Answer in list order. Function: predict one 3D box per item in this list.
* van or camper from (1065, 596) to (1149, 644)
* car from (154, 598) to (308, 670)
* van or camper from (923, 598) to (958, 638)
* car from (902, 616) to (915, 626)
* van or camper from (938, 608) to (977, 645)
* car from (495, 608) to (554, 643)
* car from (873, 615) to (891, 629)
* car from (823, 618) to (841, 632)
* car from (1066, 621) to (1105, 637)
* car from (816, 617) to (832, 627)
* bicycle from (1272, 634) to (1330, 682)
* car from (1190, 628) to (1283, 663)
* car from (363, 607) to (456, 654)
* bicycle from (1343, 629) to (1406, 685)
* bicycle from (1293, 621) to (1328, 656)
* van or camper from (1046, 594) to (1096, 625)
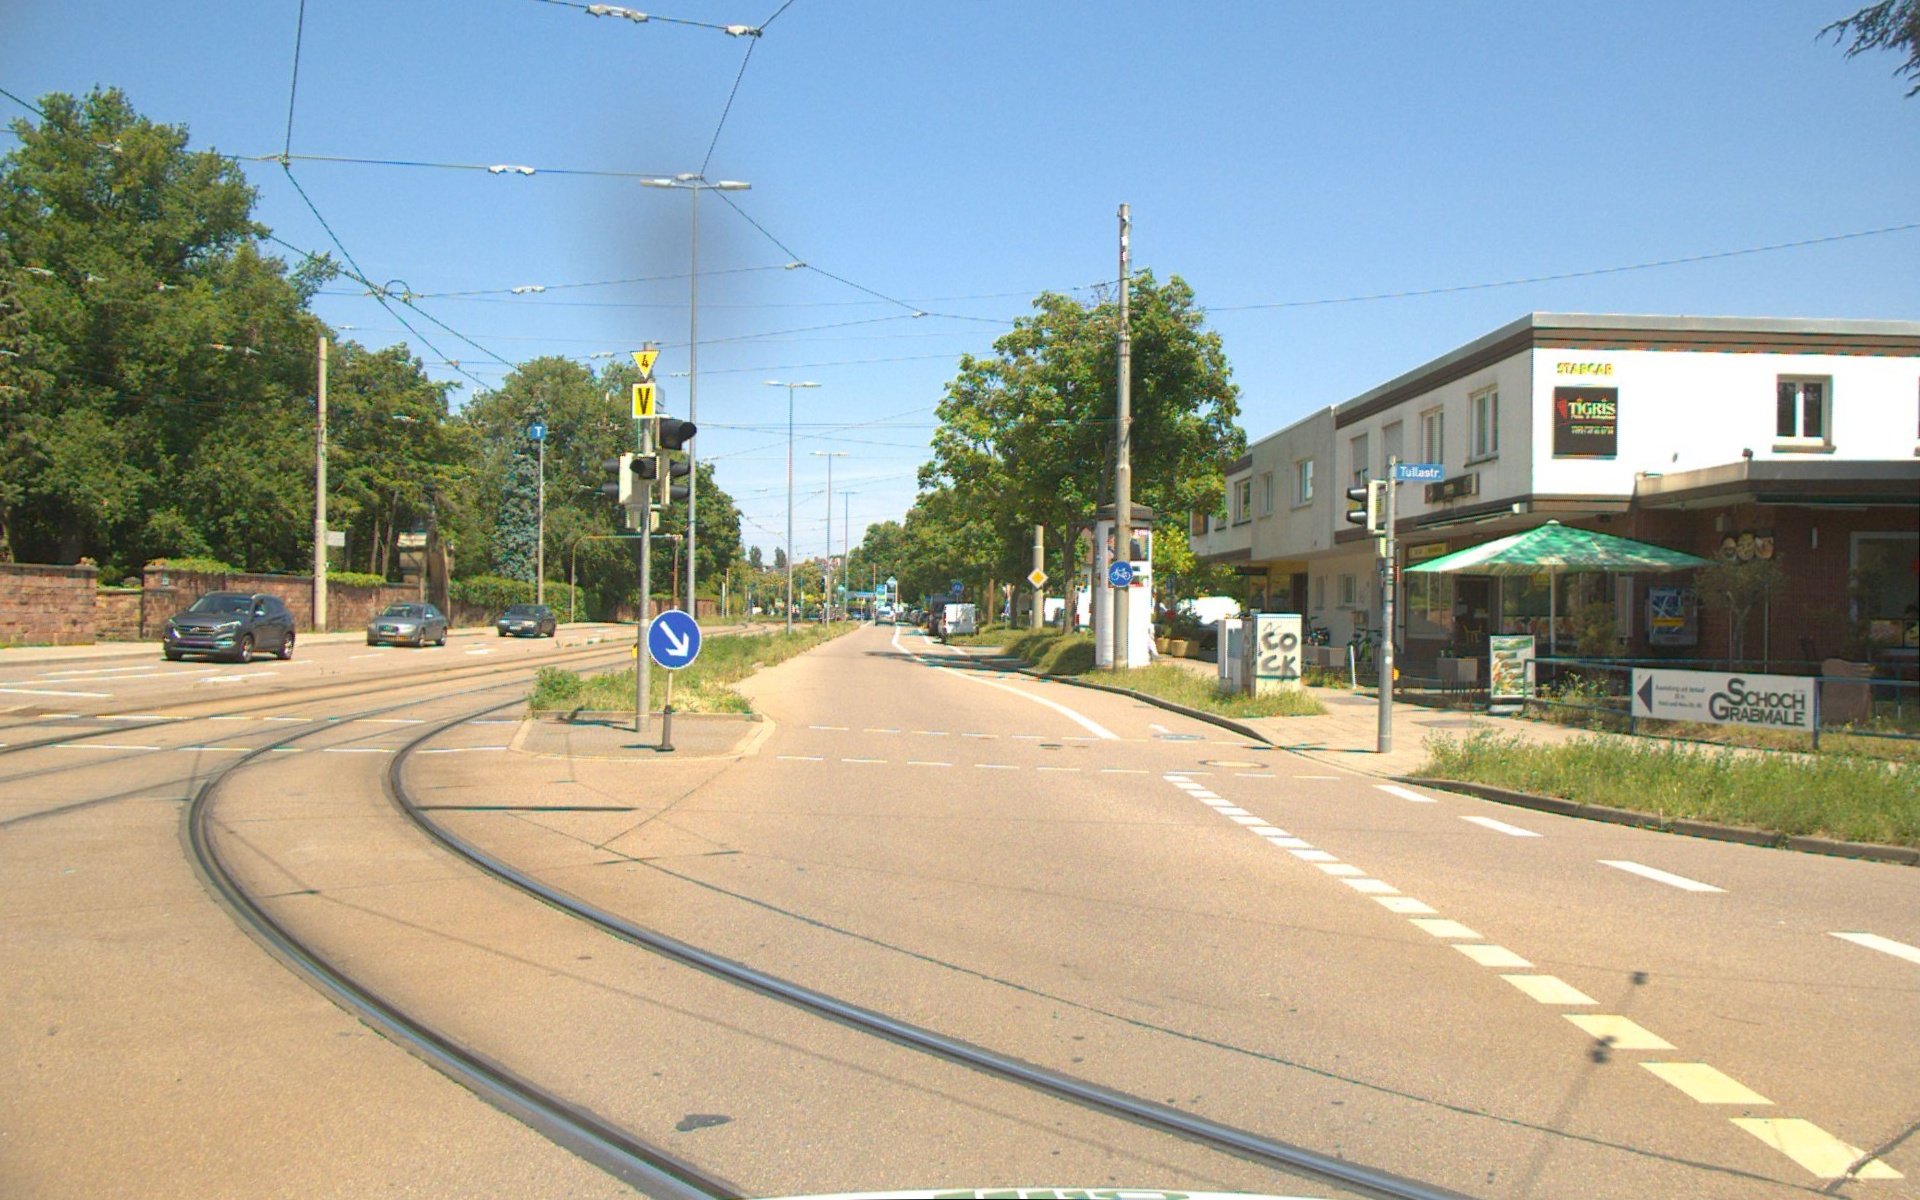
[{"bbox_3d":[8.658,1.155,97.601,4.662,2.718,2.134,1,-1,-4],"label":"van or camper"},{"bbox_3d":[-17.738,0.801,40.484,1.783,1.631,4.519,1,-1,-1],"label":"car"},{"bbox_3d":[-1.260,1.178,106.453,1.954,2.507,3.996,1,-1,-5],"label":"van or camper"},{"bbox_3d":[-6.847,2.810,219.080,1.494,1.319,3.489,1,0,-5],"label":"car"},{"bbox_3d":[-0.144,1.349,84.173,1.883,1.803,3.998,1,-1,-2],"label":"van or camper"},{"bbox_3d":[-18.883,1.091,71.911,1.608,1.424,4.113,2,0,-3],"label":"car"},{"bbox_3d":[-7.578,2.130,160.727,1.605,1.375,3.838,1,-1,-5],"label":"car"},{"bbox_3d":[-10.164,1.974,131.095,1.267,1.073,2.596,1,-1,-8],"label":"car"},{"bbox_3d":[8.394,1.939,110.603,2.533,0.979,1.149,1,0,3],"label":"car"},{"bbox_3d":[-14.259,2.304,173.687,1.462,1.064,3.578,1,-1,-3],"label":"car"},{"bbox_3d":[7.948,1.334,38.685,1.012,1.032,2.638,1,0,5],"label":"bicycle"},{"bbox_3d":[11.538,1.900,69.028,3.540,1.375,1.488,1,-1,-9],"label":"car"},{"bbox_3d":[-18.249,0.995,54.987,1.607,1.445,4.167,2,0,0],"label":"car"},{"bbox_3d":[9.408,1.272,37.618,0.968,1.184,2.638,1,0,5],"label":"bicycle"},{"bbox_3d":[11.121,1.221,52.528,0.497,1.084,1.862,3,-1,-5],"label":"bicycle"},{"bbox_3d":[8.166,0.693,121.984,3.487,2.183,1.601,1,-1,-4],"label":"van or camper"}]
